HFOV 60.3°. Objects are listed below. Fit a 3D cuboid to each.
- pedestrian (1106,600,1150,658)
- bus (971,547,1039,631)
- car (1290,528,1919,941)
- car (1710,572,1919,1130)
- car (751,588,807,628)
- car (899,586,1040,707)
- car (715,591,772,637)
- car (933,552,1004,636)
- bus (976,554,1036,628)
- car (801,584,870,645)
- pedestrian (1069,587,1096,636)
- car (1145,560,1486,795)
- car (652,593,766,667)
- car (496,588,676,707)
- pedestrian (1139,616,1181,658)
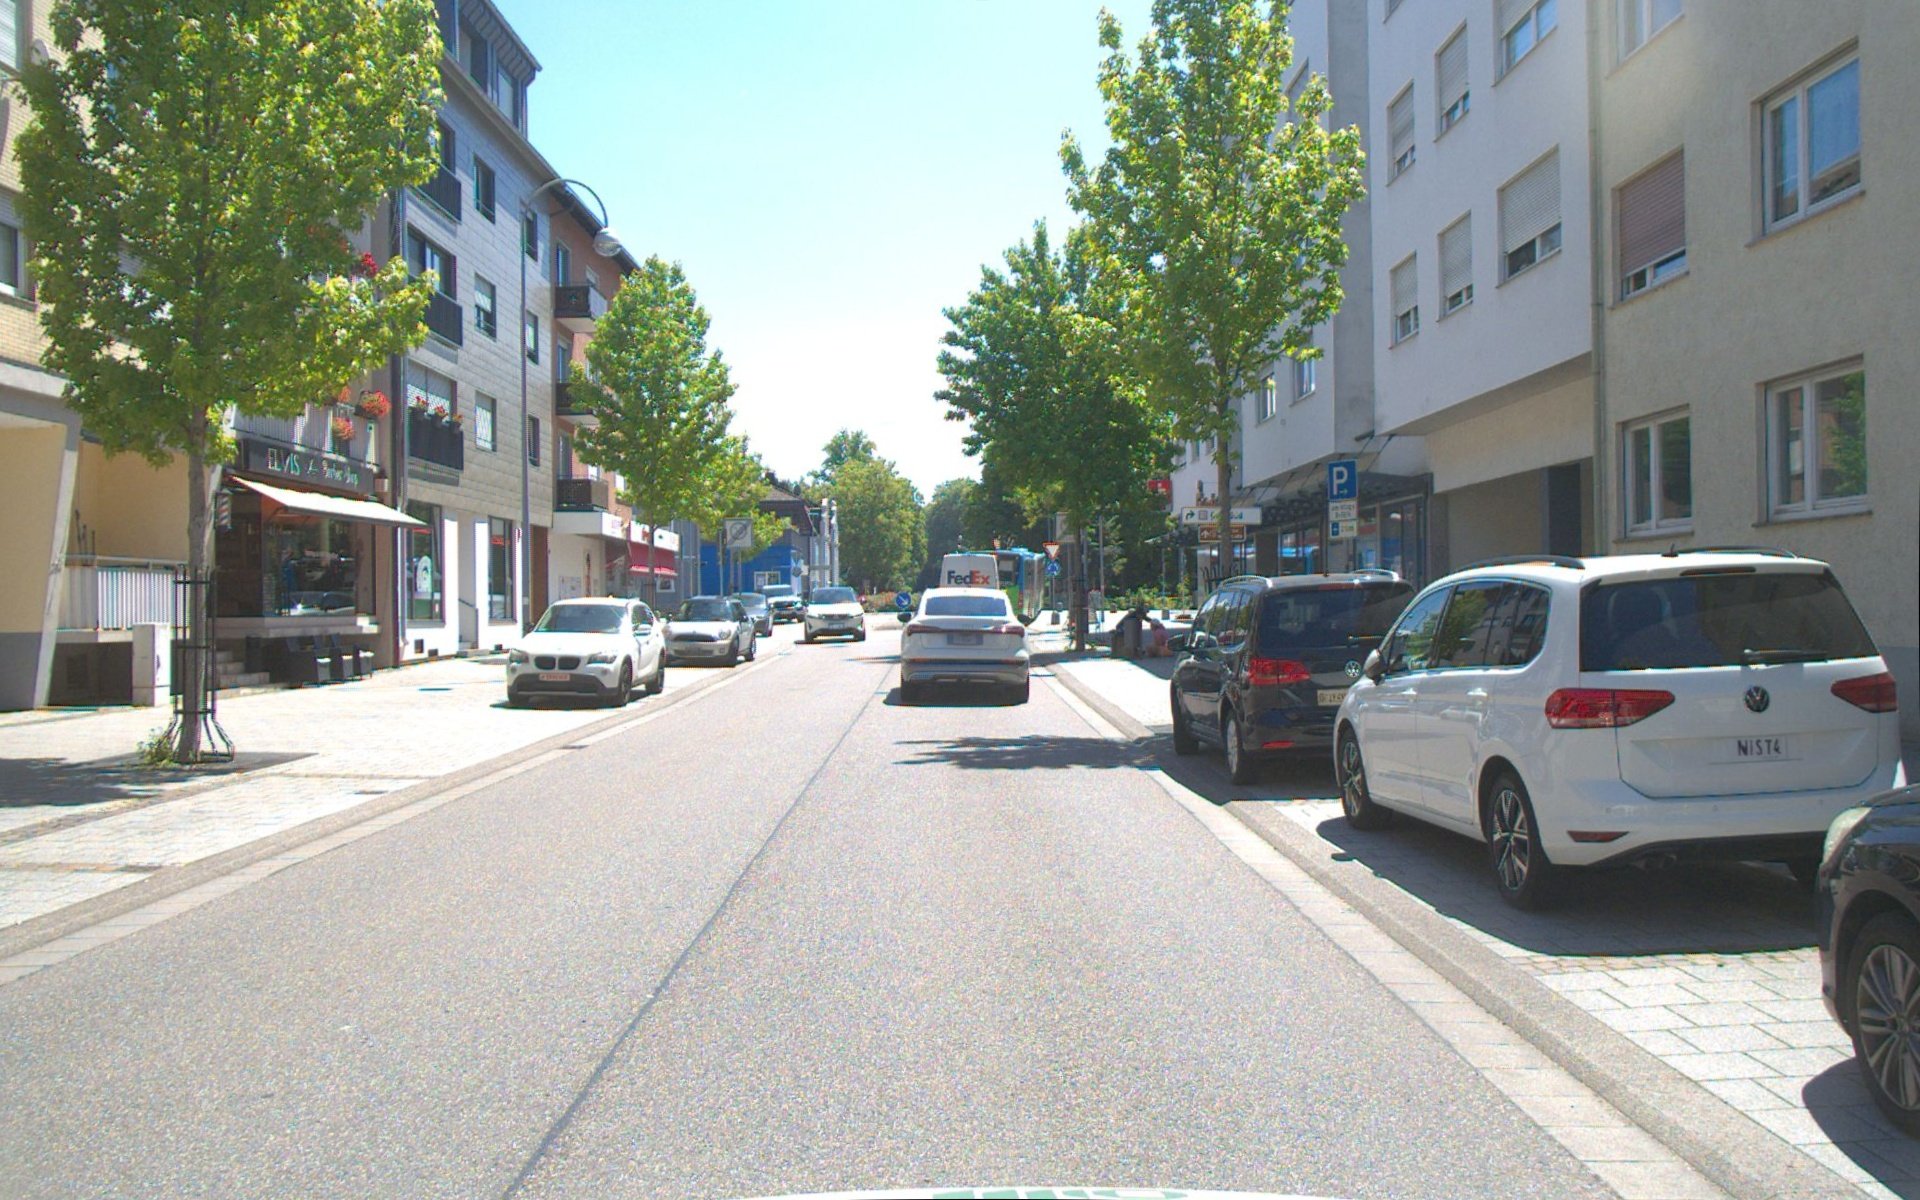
[{"bbox_3d":[3.711,0.627,36.534,0.887,1.258,0.648,-1,0,-1],"label":"pedestrian"},{"bbox_3d":[1.934,-0.421,69.910,2.605,3.278,7.303,1,0,2],"label":"bus"},{"bbox_3d":[3.413,0.562,9.435,1.858,1.704,4.688,-2,0,-3],"label":"car"},{"bbox_3d":[3.419,0.652,3.293,1.857,1.463,4.545,-1,0,1],"label":"car"},{"bbox_3d":[-8.598,0.382,78.175,1.836,1.788,3.980,2,0,-18],"label":"car"},{"bbox_3d":[0.083,0.655,25.185,1.953,1.661,3.999,1,0,-2],"label":"car"},{"bbox_3d":[-7.525,0.477,57.803,1.802,1.521,3.995,-1,0,-5],"label":"car"},{"bbox_3d":[0.249,-0.171,52.633,2.112,2.484,5.283,1,0,0],"label":"car"},{"bbox_3d":[2.146,-0.381,77.285,2.606,3.266,7.452,1,0,1],"label":"bus"},{"bbox_3d":[-3.773,0.429,50.710,1.818,1.721,4.149,-2,0,-1],"label":"car"},{"bbox_3d":[3.864,0.349,51.980,0.702,1.529,0.582,-1,0,19],"label":"pedestrian"},{"bbox_3d":[2.948,0.581,14.774,1.819,1.704,4.534,-2,0,-3],"label":"car"},{"bbox_3d":[-5.493,0.626,36.656,1.716,1.478,4.401,2,0,1],"label":"car"},{"bbox_3d":[-5.712,0.676,25.787,1.716,1.646,4.401,2,0,1],"label":"car"},{"bbox_3d":[4.362,0.800,36.069,0.887,0.894,0.648,-1,0,4],"label":"pedestrian"}]
